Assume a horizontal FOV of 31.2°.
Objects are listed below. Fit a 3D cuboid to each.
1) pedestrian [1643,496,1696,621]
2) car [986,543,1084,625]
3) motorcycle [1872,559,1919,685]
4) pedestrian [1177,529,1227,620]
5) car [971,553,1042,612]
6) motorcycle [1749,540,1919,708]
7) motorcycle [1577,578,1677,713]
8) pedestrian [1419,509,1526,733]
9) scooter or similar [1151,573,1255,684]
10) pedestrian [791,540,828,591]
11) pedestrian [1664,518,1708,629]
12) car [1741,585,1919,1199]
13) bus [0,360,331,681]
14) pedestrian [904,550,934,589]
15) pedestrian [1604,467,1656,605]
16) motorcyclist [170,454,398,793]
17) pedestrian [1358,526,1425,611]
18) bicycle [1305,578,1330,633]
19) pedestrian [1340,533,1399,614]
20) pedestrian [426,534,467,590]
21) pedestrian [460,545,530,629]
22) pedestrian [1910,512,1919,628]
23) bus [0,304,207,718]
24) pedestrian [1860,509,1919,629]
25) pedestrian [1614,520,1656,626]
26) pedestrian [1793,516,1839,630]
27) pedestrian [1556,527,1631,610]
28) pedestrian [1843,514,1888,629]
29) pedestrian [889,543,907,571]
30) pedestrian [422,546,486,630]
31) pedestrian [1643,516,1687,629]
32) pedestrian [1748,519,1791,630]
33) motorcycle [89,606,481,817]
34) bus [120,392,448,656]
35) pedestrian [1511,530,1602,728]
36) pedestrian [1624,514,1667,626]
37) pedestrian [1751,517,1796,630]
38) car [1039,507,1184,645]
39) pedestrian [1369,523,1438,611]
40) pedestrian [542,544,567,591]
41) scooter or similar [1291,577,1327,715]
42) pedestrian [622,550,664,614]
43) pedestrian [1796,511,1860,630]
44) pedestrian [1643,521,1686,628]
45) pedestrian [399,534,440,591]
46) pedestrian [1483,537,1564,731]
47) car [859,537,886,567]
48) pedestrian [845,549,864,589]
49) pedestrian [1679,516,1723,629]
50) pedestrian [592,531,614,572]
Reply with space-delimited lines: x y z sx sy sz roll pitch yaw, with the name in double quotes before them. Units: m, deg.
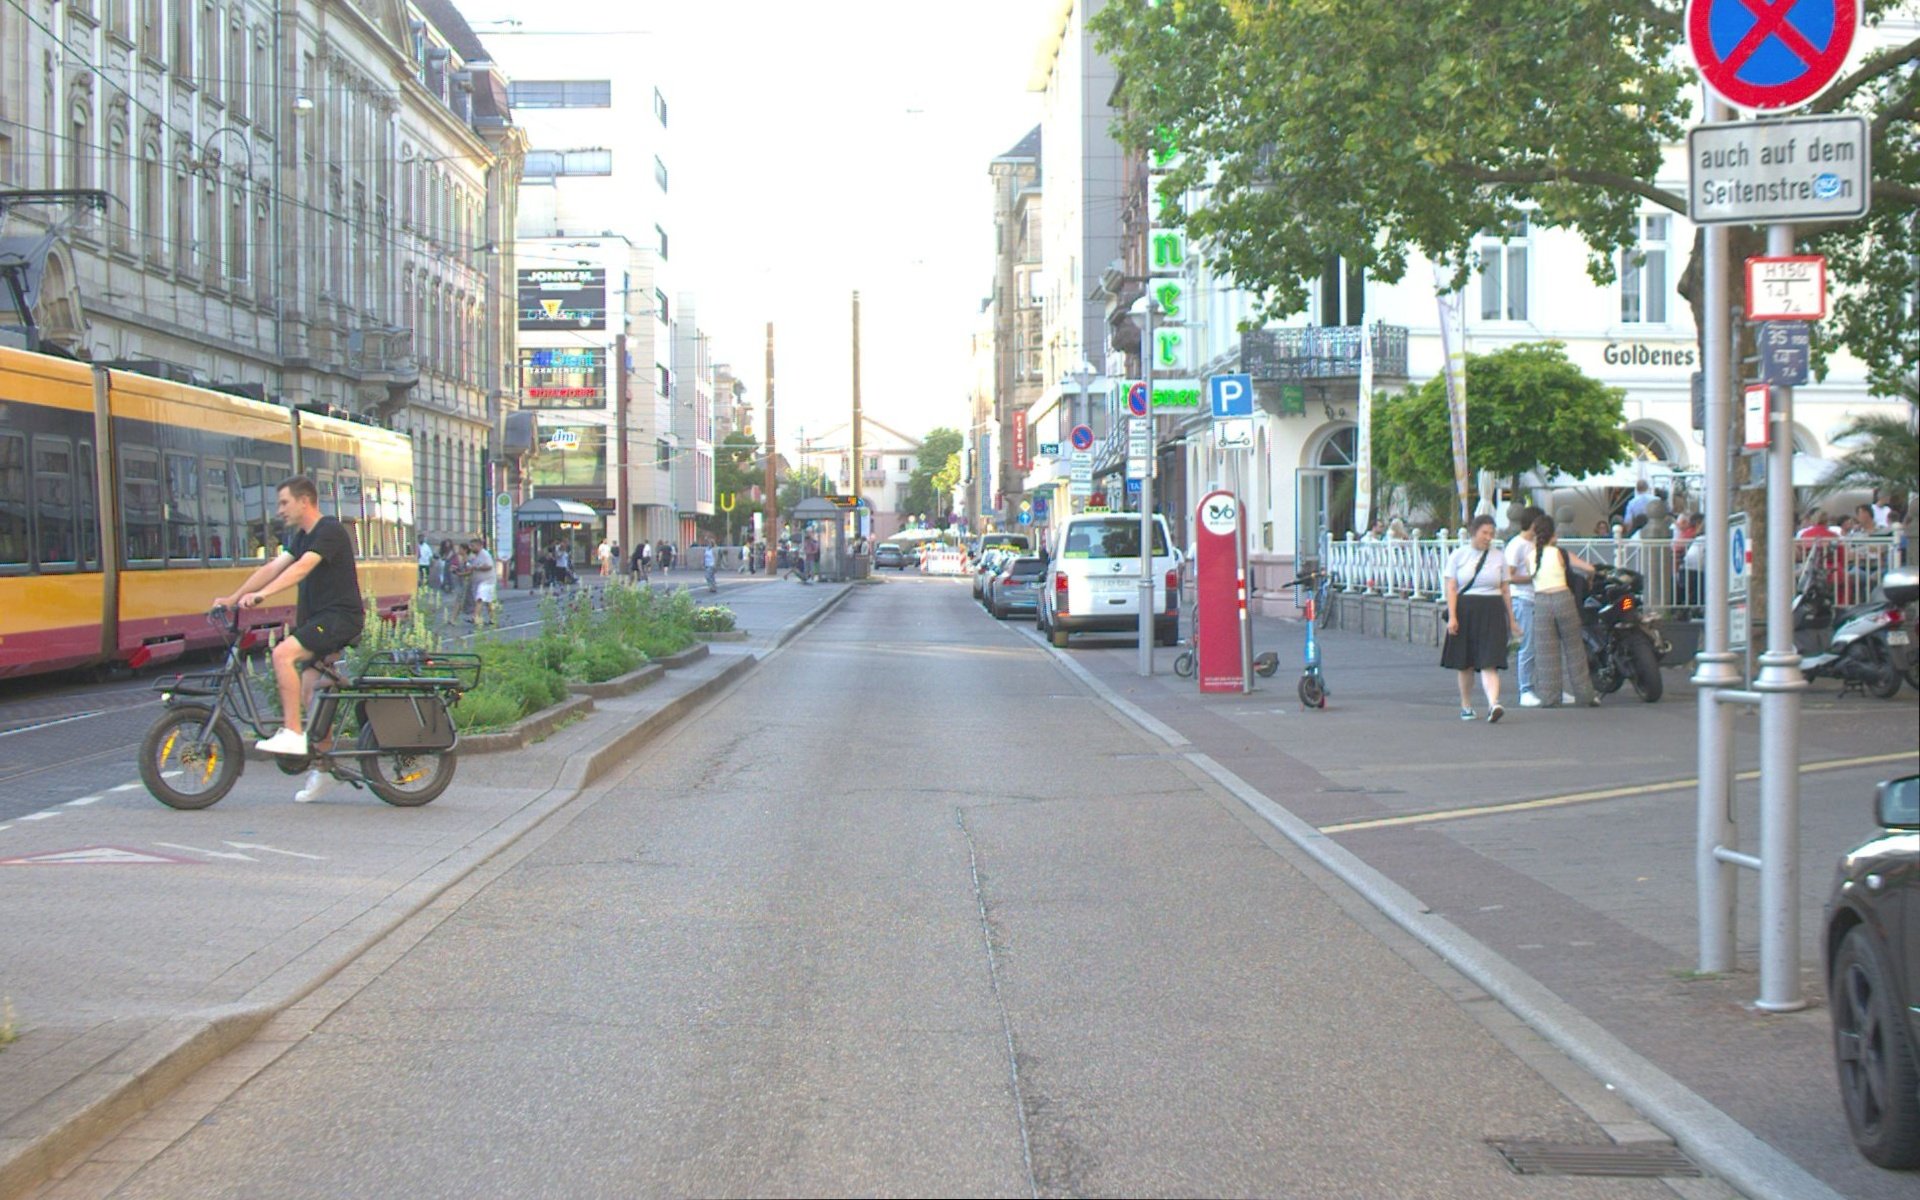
"pedestrian" 9.037 -0.519 43.783 0.619 1.566 0.630 -1 -1 14
"car" 1.644 -0.355 76.648 1.993 1.755 4.421 0 0 -1
"motorcycle" 9.229 0.222 31.619 0.550 1.147 1.798 0 2 -27
"pedestrian" 4.697 -0.484 66.699 0.786 1.745 0.895 0 -1 -8
"car" 1.363 -0.502 102.716 1.993 1.661 4.421 0 -1 -1
"motorcycle" 8.203 0.196 31.411 0.564 1.418 2.297 0 2 -27
"motorcycle" 5.902 0.405 30.510 0.455 1.154 2.031 0 -1 -1
"pedestrian" 4.233 0.168 28.426 0.714 1.797 0.824 -2 0 2
"scooter or similar" 2.735 0.319 38.750 1.125 1.212 0.300 -1 0 1
"pedestrian" -5.033 -1.152 115.347 1.049 1.680 0.908 -1 -1 11
"pedestrian" 8.499 -0.303 40.254 0.474 1.281 0.539 -1 -1 14
"car" 2.975 0.655 6.996 1.655 1.375 4.341 -4 1 -1
"bus" -10.019 -0.948 43.034 2.822 3.612 8.289 0 1 -1
"pedestrian" -1.983 -1.485 166.748 1.229 1.922 1.022 0 1 -16
"pedestrian" 11.208 -1.067 57.550 0.612 2.297 0.581 0 -1 -22
"motorcyclist" -3.740 0.132 18.981 1.001 1.807 0.960 0 -1 -27
"pedestrian" 6.729 -0.490 53.635 0.902 1.301 0.967 0 -1 -1
"bicycle" 6.003 0.099 57.709 0.250 0.899 1.374 0 -1 -1
"pedestrian" 6.675 -0.430 56.085 0.822 1.301 0.870 0 -1 -1
"pedestrian" -15.354 -1.144 102.805 1.048 1.680 0.908 0 1 -20
"pedestrian" -8.452 -0.225 62.461 0.718 1.509 1.035 -1 -1 43
"pedestrian" 10.875 -0.332 38.430 0.474 1.281 0.539 -1 -1 15
"bus" -9.860 -0.778 30.333 2.822 3.639 17.073 0 1 -1
"pedestrian" 10.125 -0.326 37.369 0.645 1.281 0.740 -1 -1 15
"pedestrian" 8.382 -0.329 42.713 0.474 1.300 0.539 -1 -1 14
"pedestrian" 9.785 -0.302 39.276 0.477 1.281 0.525 -1 -1 16
"pedestrian" 9.763 -0.480 52.997 0.963 1.262 0.905 0 -1 -1
"pedestrian" 10.234 -0.317 38.865 0.474 1.281 0.539 -1 -1 15
"pedestrian" -4.013 -2.769 221.633 0.782 1.728 0.811 -1 -1 40
"pedestrian" -9.263 -0.218 62.939 0.758 1.509 0.861 -1 -1 43
"pedestrian" 8.384 -0.320 40.864 0.474 1.325 0.539 -1 -1 14
"pedestrian" 9.482 -0.292 40.276 0.474 1.281 0.539 -1 -1 14
"motorcycle" -3.717 0.596 18.986 2.043 1.120 0.568 0 -1 -27
"bus" -10.147 -1.039 53.031 2.822 3.600 11.823 0 0 -1
"pedestrian" 5.224 0.256 30.119 0.678 1.711 0.654 0 -1 2
"pedestrian" 8.395 -0.361 42.091 0.474 1.359 0.539 -1 -1 14
"pedestrian" 9.378 -0.299 39.641 0.474 1.281 0.539 -1 -1 15
"car" 2.236 -0.366 51.751 1.915 1.975 4.421 0 0 -1
"pedestrian" 6.779 -0.502 52.594 0.902 1.309 0.967 0 -1 -1
"pedestrian" -13.783 -1.107 116.709 0.777 1.575 0.679 0 1 -12
"scooter or similar" 3.158 0.402 31.055 0.315 1.217 1.272 0 1 6
"pedestrian" -8.448 -0.484 91.642 1.048 1.680 0.908 0 -1 -10
"pedestrian" 9.497 -0.314 37.610 0.645 1.281 0.740 -1 -1 15
"pedestrian" 8.496 -0.305 41.446 0.474 1.281 0.539 -1 -1 14
"pedestrian" -15.853 -1.103 100.817 1.048 1.680 0.908 0 1 -20
"pedestrian" 5.039 0.304 30.785 0.614 1.711 0.662 0 -1 1
"car" -5.664 -3.096 223.016 1.760 1.821 3.570 0 -1 -1
"pedestrian" -4.048 -1.169 131.825 0.612 1.518 0.621 0 -1 -9
"pedestrian" 8.546 -0.312 39.629 0.474 1.281 0.539 -1 -1 14
"pedestrian" -16.761 -2.275 161.494 0.905 1.922 0.851 0 1 -17
